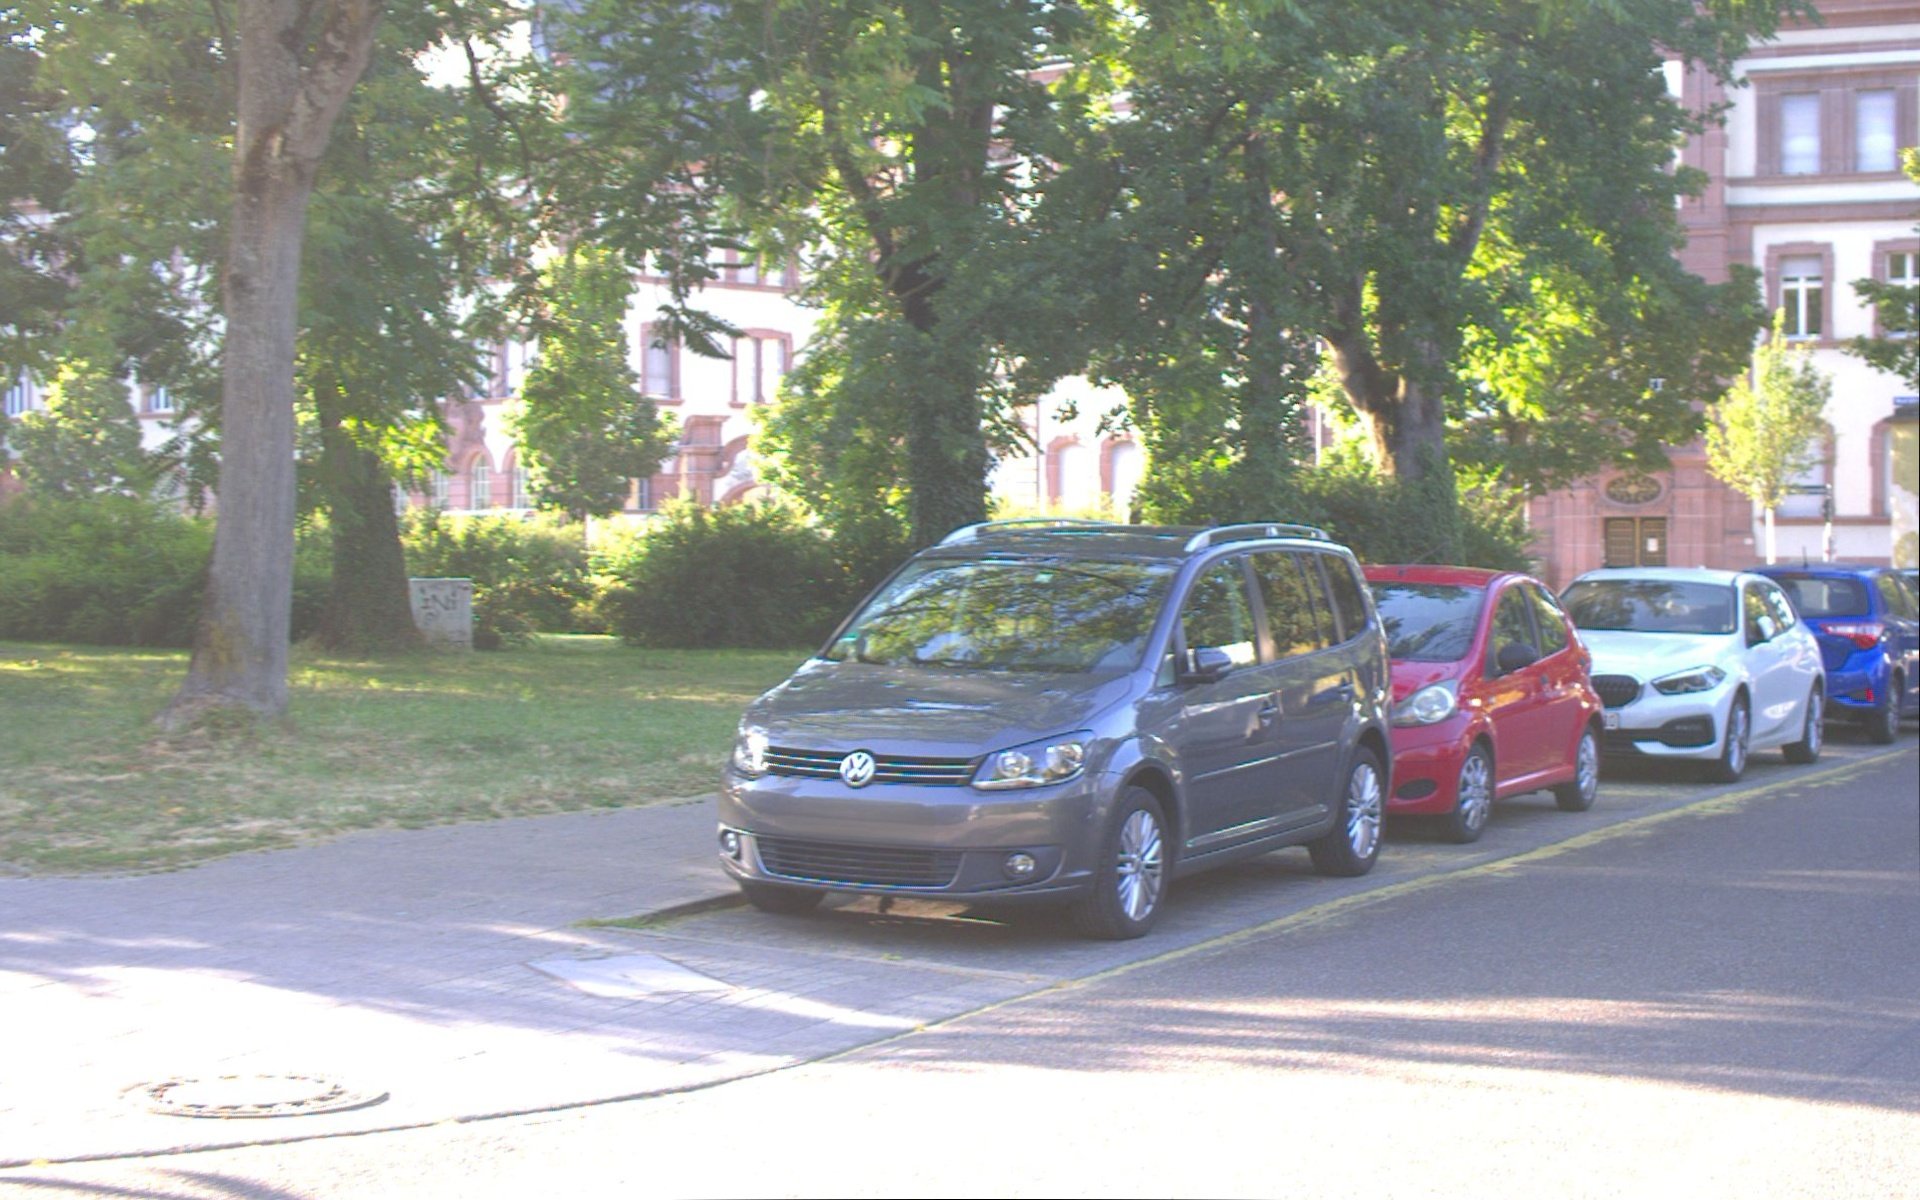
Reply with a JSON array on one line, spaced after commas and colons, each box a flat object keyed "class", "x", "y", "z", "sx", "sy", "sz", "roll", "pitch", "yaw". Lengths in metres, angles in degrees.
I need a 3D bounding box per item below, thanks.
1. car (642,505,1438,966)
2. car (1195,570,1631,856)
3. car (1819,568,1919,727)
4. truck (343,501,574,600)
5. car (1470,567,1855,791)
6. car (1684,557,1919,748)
[{"class": "car", "x": 0.529, "y": 0.476, "z": 15.187, "sx": 1.804, "sy": 1.670, "sz": 4.314, "roll": 3, "pitch": 2, "yaw": 26}, {"class": "car", "x": 2.663, "y": 0.570, "z": 19.630, "sx": 1.389, "sy": 1.418, "sz": 3.422, "roll": 3, "pitch": 2, "yaw": 26}, {"class": "car", "x": 9.883, "y": 0.438, "z": 34.358, "sx": 1.554, "sy": 1.489, "sz": 3.936, "roll": 1, "pitch": 1, "yaw": 29}, {"class": "truck", "x": -15.877, "y": -1.589, "z": 108.508, "sx": 8.002, "sy": 3.019, "sz": 2.606, "roll": 1, "pitch": 1, "yaw": 41}, {"class": "car", "x": 5.116, "y": 0.496, "z": 24.656, "sx": 1.693, "sy": 1.401, "sz": 3.969, "roll": 3, "pitch": 2, "yaw": 26}, {"class": "car", "x": 7.625, "y": 0.408, "z": 29.964, "sx": 1.641, "sy": 1.490, "sz": 3.700, "roll": 3, "pitch": 2, "yaw": 26}]
